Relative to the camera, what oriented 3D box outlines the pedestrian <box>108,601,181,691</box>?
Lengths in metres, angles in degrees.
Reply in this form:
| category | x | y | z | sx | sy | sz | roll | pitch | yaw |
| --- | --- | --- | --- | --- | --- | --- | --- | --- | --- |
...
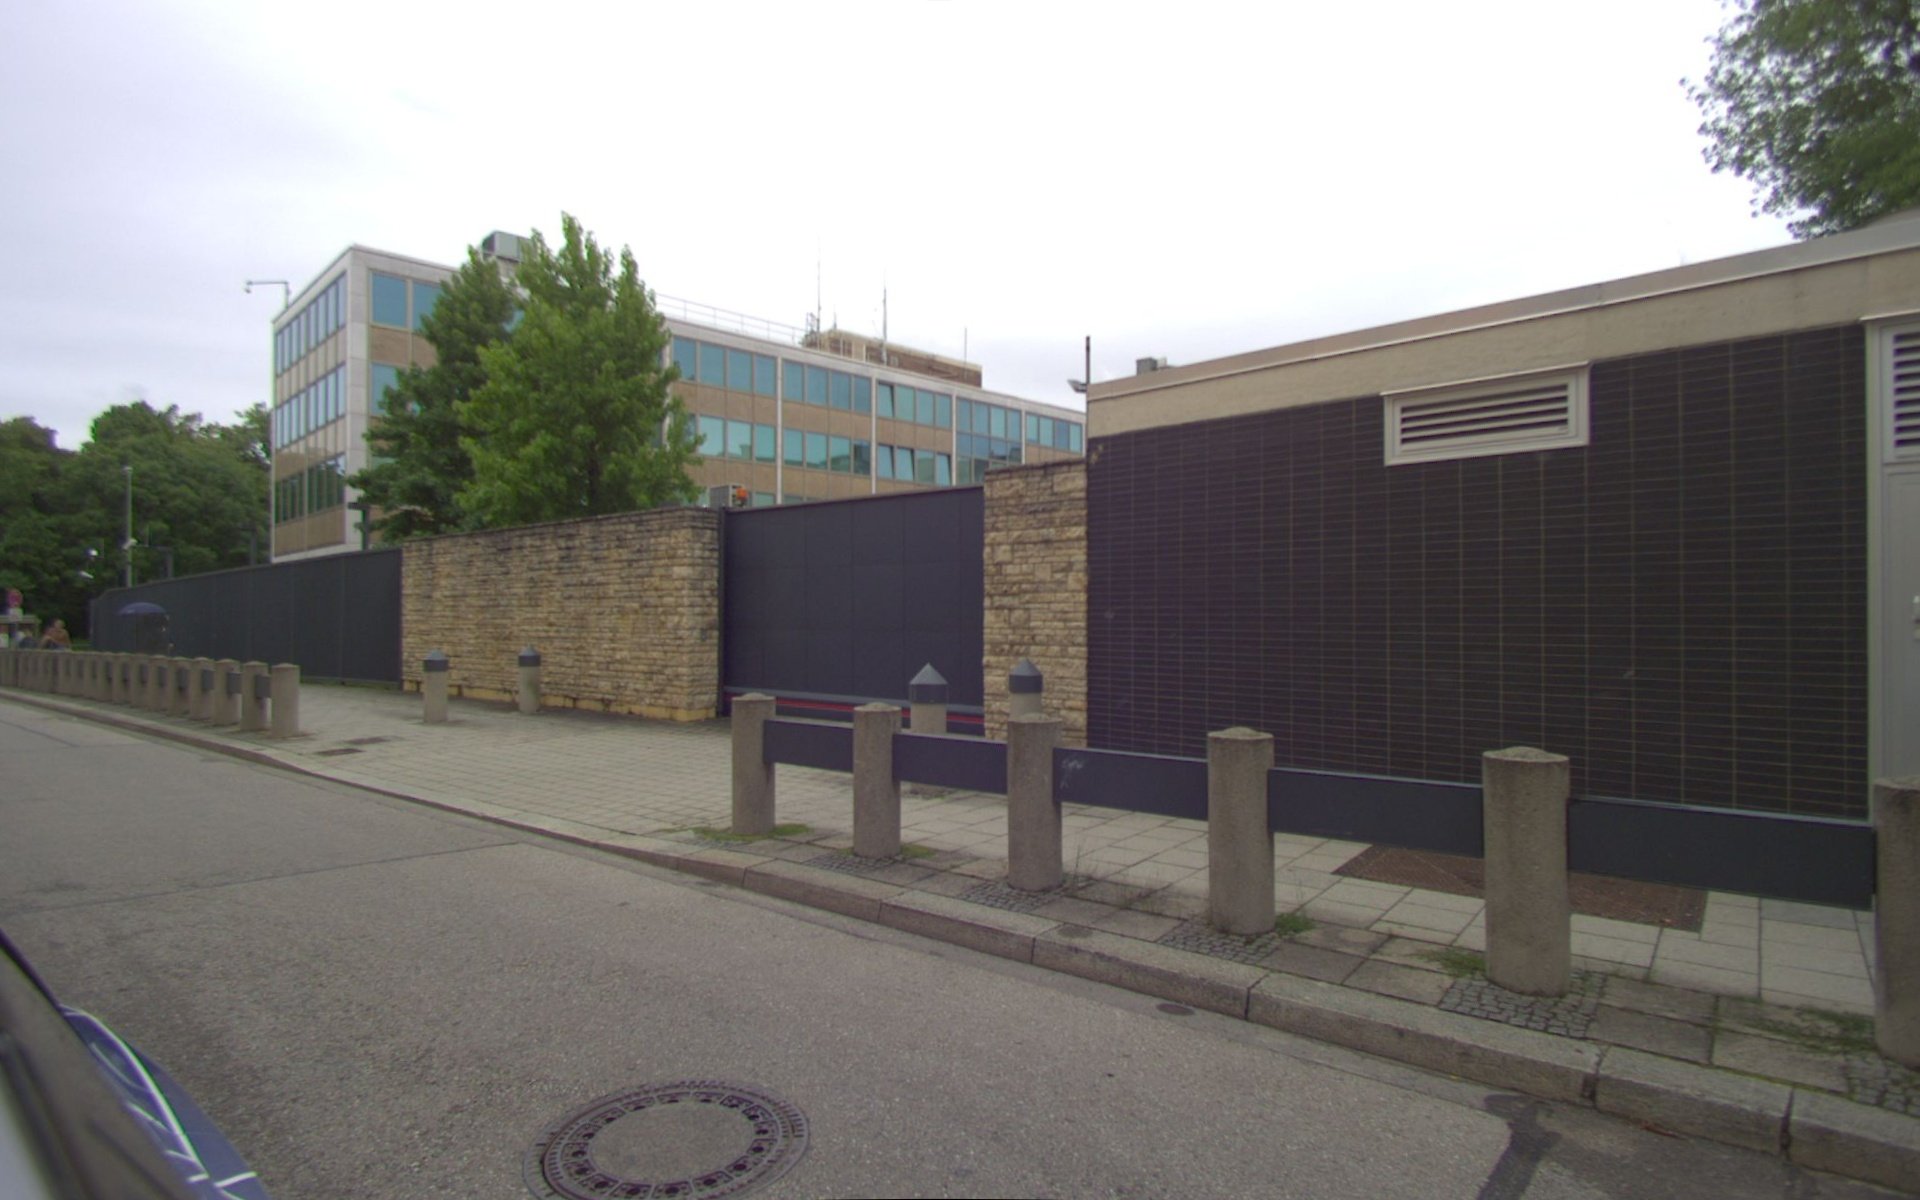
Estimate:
| category | x | y | z | sx | sy | sz | roll | pitch | yaw |
| --- | --- | --- | --- | --- | --- | --- | --- | --- | --- |
| pedestrian | -19.907 | 1.109 | 24.700 | 1.116 | 2.120 | 1.210 | -3 | -3 | 41 |

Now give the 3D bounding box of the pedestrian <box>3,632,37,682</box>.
| category | x | y | z | sx | sy | sz | roll | pitch | yaw |
| --- | --- | --- | --- | --- | --- | --- | --- | --- | --- |
| pedestrian | -30.523 | 1.841 | 32.873 | 0.768 | 1.551 | 0.934 | -2 | -1 | -43 |

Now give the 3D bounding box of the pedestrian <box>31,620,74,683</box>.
| category | x | y | z | sx | sy | sz | roll | pitch | yaw |
| --- | --- | --- | --- | --- | --- | --- | --- | --- | --- |
| pedestrian | -25.740 | 1.453 | 28.715 | 0.906 | 1.736 | 0.815 | -3 | -1 | 44 |
